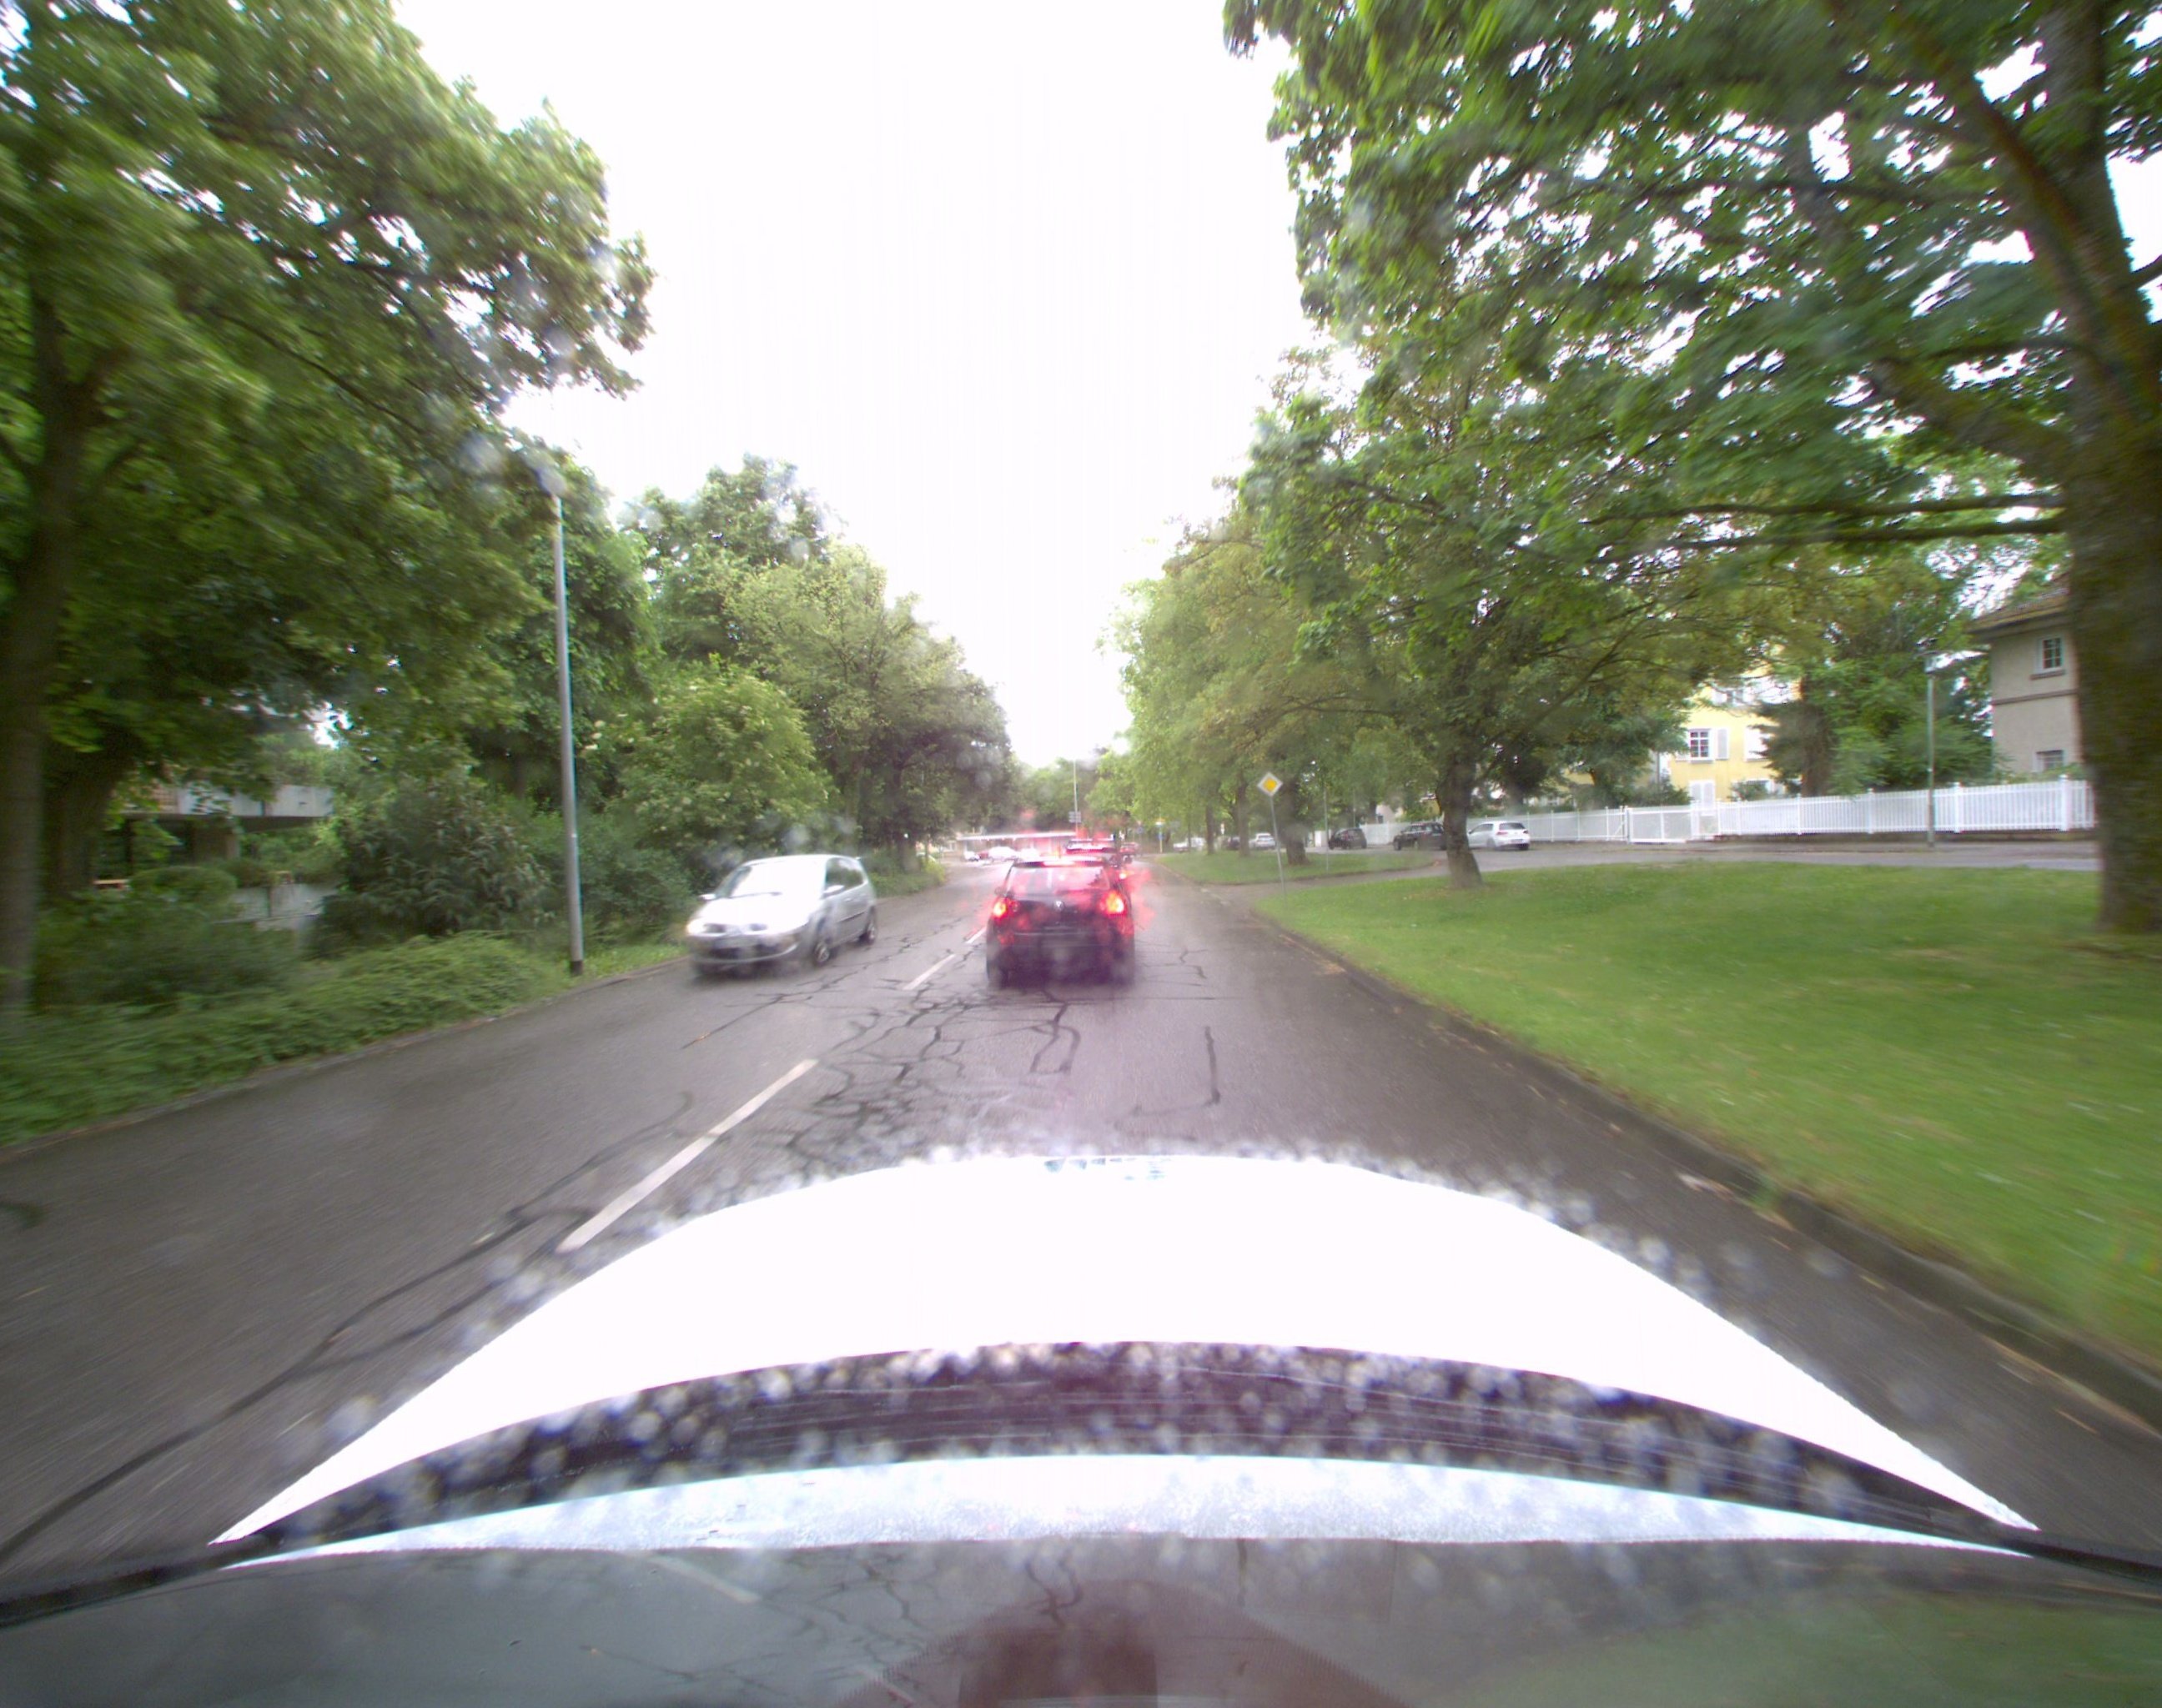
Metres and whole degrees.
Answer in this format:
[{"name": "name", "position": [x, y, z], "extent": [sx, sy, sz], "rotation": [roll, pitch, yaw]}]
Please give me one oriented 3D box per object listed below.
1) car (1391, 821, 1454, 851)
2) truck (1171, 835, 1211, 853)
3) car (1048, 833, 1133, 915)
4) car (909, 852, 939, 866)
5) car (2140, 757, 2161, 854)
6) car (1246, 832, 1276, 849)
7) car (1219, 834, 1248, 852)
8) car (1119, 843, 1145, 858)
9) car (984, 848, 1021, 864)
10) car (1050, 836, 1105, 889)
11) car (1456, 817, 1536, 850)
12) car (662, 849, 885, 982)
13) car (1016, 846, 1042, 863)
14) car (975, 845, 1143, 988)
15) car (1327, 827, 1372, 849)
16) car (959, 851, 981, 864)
[{"name": "car", "position": [19.690, -1.057, 47.094], "extent": [1.797, 1.529, 4.111], "rotation": [-4, 1, -1]}, {"name": "truck", "position": [13.886, -1.287, 102.715], "extent": [2.393, 2.004, 5.183], "rotation": [-3, 0, 41]}, {"name": "car", "position": [0.280, 0.444, 20.374], "extent": [1.848, 1.784, 4.002], "rotation": [-3, 0, 2]}, {"name": "car", "position": [-17.323, 0.523, 89.713], "extent": [3.119, 1.310, 1.535], "rotation": [-3, 0, -9]}, {"name": "car", "position": [21.215, -0.923, 13.213], "extent": [1.936, 1.809, 4.647], "rotation": [-4, 2, -1]}, {"name": "car", "position": [15.899, -1.205, 72.147], "extent": [1.797, 1.406, 4.002], "rotation": [-4, 1, 2]}, {"name": "car", "position": [13.422, -0.973, 71.878], "extent": [1.797, 1.385, 4.002], "rotation": [-4, 1, 2]}, {"name": "car", "position": [5.506, -0.381, 88.107], "extent": [1.691, 1.513, 3.693], "rotation": [-3, 0, 21]}, {"name": "car", "position": [-8.793, 0.241, 91.050], "extent": [3.756, 1.618, 1.789], "rotation": [-1, 0, 27]}, {"name": "car", "position": [-0.062, 0.297, 31.045], "extent": [1.848, 1.784, 4.002], "rotation": [-3, 0, 2]}, {"name": "car", "position": [20.054, -0.973, 39.528], "extent": [1.613, 1.409, 4.005], "rotation": [-4, 1, -4]}, {"name": "car", "position": [-4.476, 0.783, 12.605], "extent": [1.758, 1.614, 4.141], "rotation": [-3, 0, 0]}, {"name": "car", "position": [-4.811, -0.014, 75.284], "extent": [1.610, 1.427, 3.989], "rotation": [-4, 2, -14]}, {"name": "car", "position": [-0.173, 0.676, 10.723], "extent": [1.792, 1.515, 3.755], "rotation": [-1, 0, 2]}, {"name": "car", "position": [19.387, -1.161, 59.011], "extent": [1.797, 1.411, 4.111], "rotation": [-4, 1, -1]}, {"name": "car", "position": [-14.295, 0.456, 104.946], "extent": [1.804, 1.393, 3.949], "rotation": [-5, 1, -22]}]
